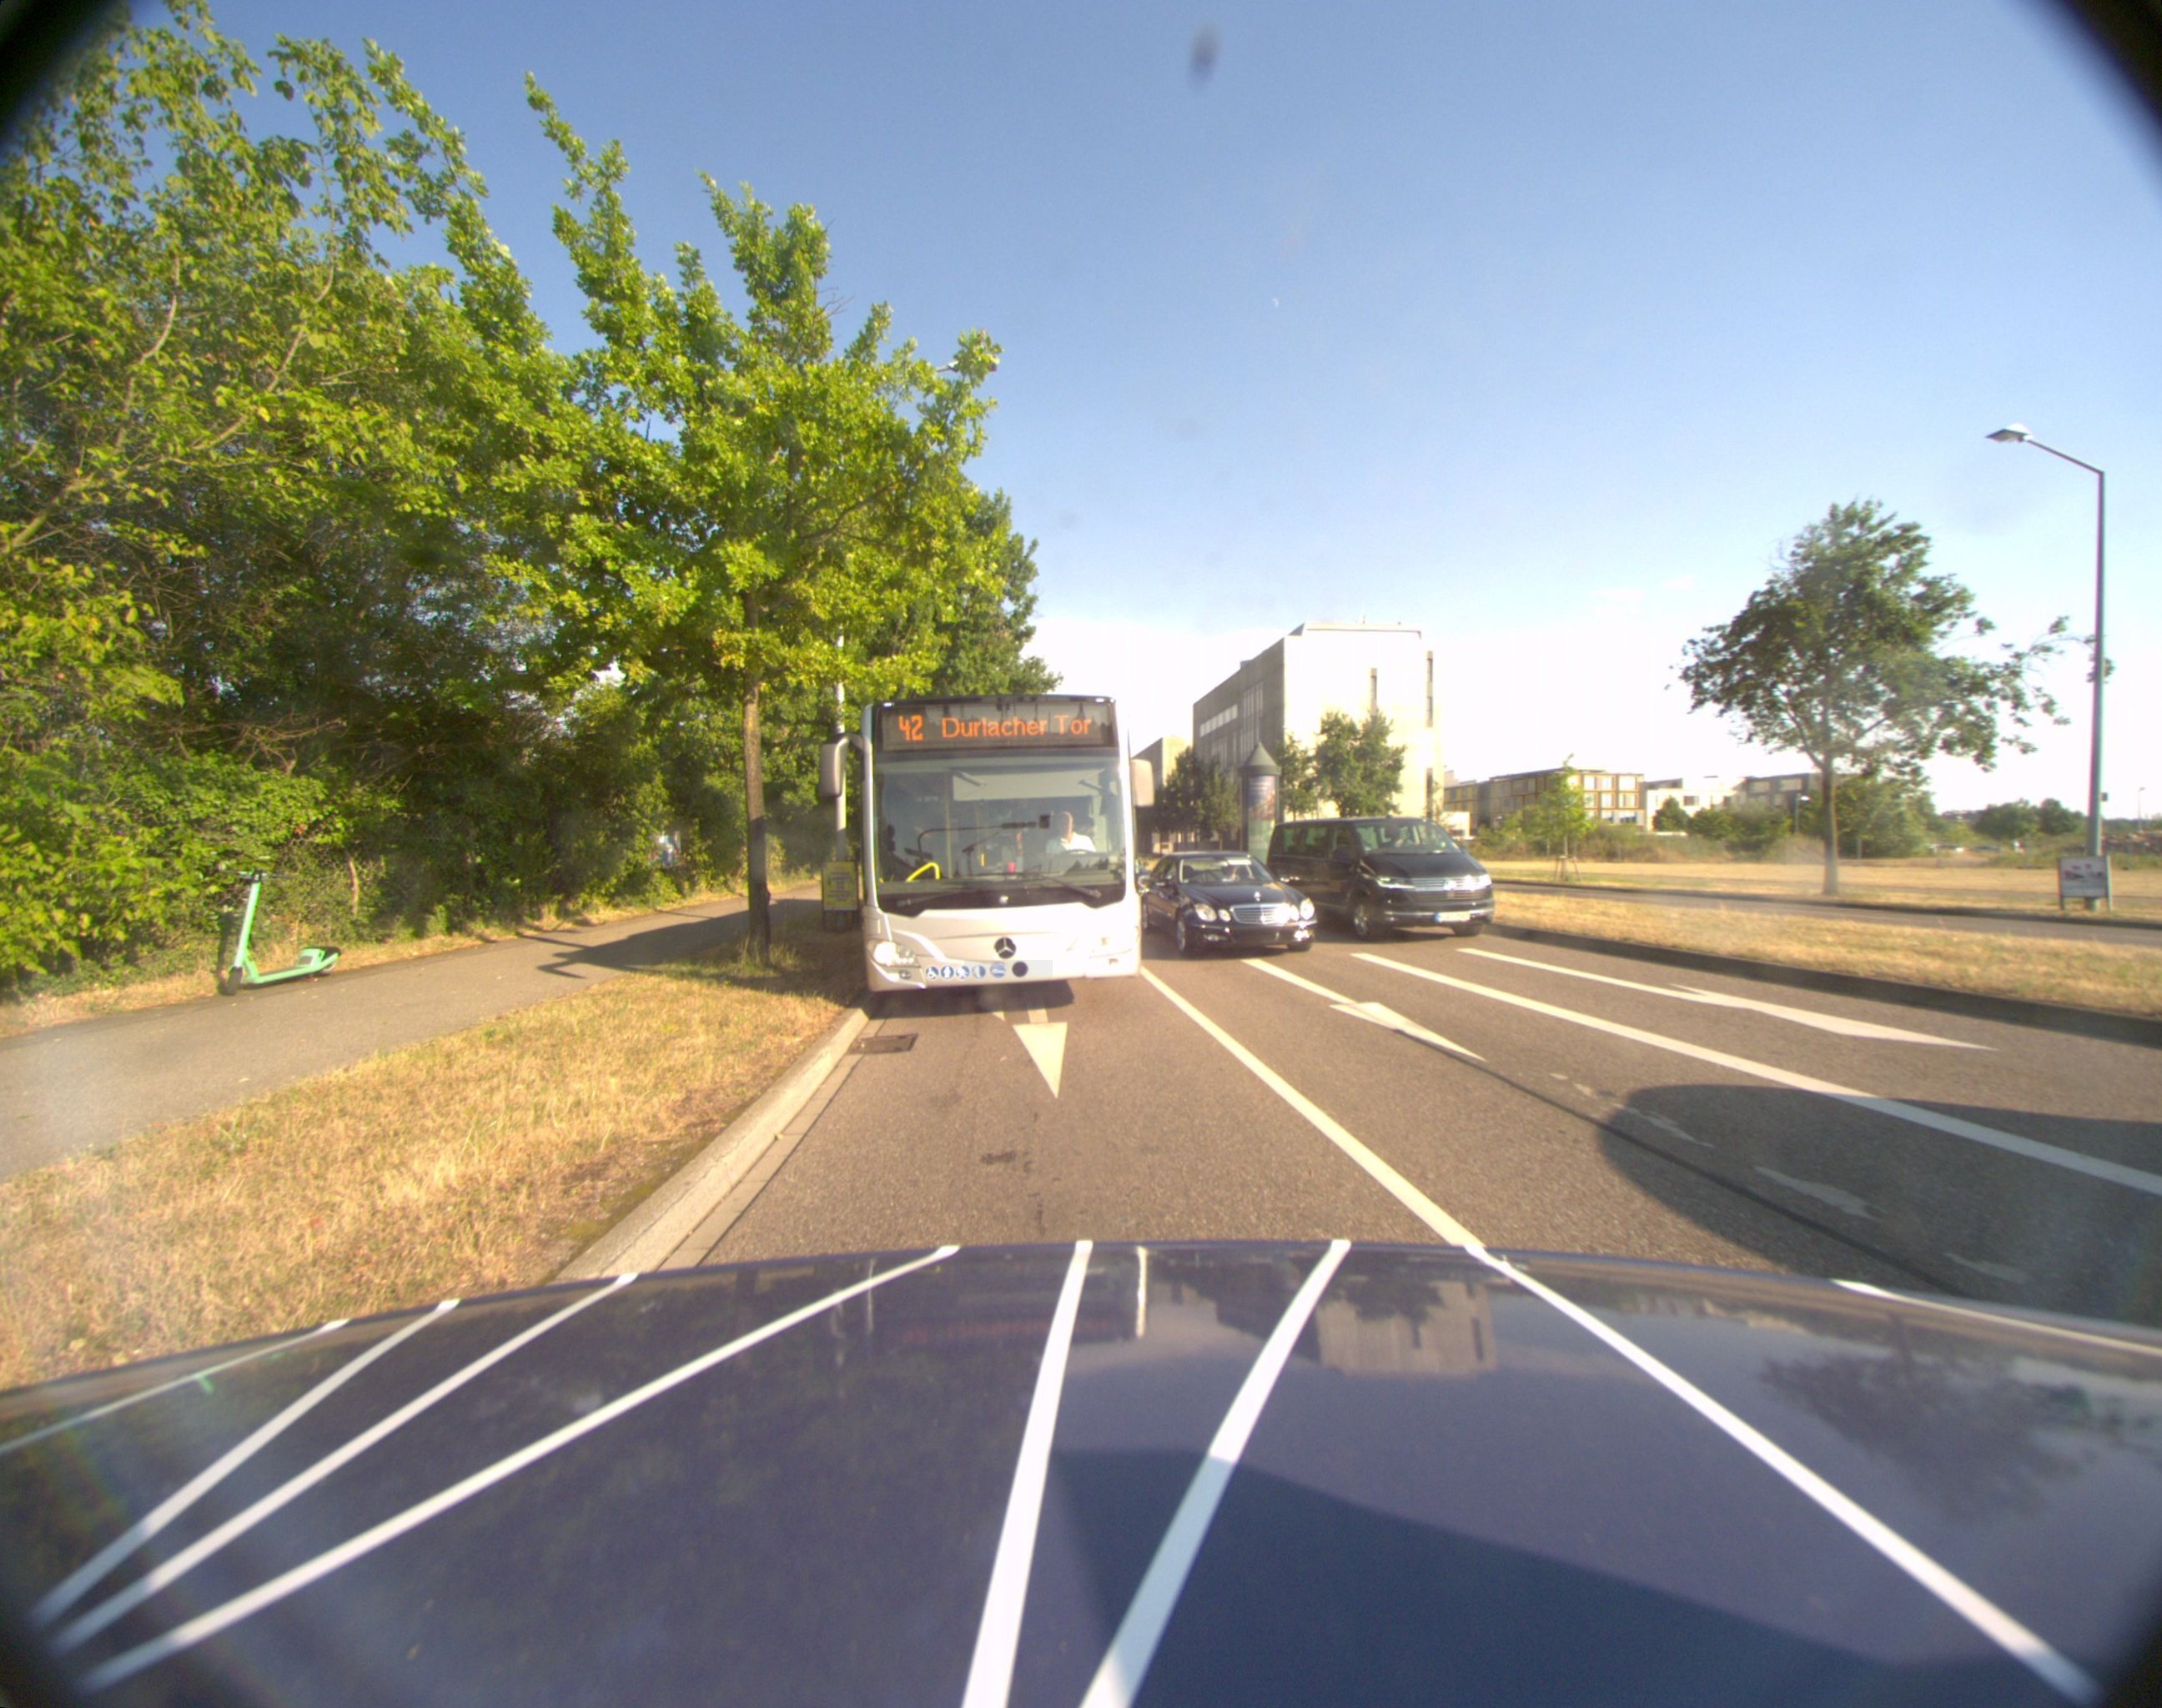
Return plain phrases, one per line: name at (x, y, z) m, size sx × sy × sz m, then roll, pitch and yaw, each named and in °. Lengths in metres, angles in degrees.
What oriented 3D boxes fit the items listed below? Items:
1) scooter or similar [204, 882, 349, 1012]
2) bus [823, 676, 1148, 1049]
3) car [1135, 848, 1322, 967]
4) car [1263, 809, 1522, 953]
scooter or similar at (-7.791, 0.859, 7.407) m, size 0.249 × 1.120 × 1.095 m, roll 2°, pitch 1°, yaw -2°
bus at (-1.164, -0.005, 12.138) m, size 2.596 × 3.025 × 11.713 m, roll -2°, pitch 1°, yaw -4°
car at (2.043, 0.660, 11.892) m, size 1.810 × 1.428 × 4.492 m, roll -3°, pitch 1°, yaw -3°
car at (4.908, 0.319, 12.956) m, size 1.862 × 1.921 × 5.009 m, roll -2°, pitch 1°, yaw -7°
